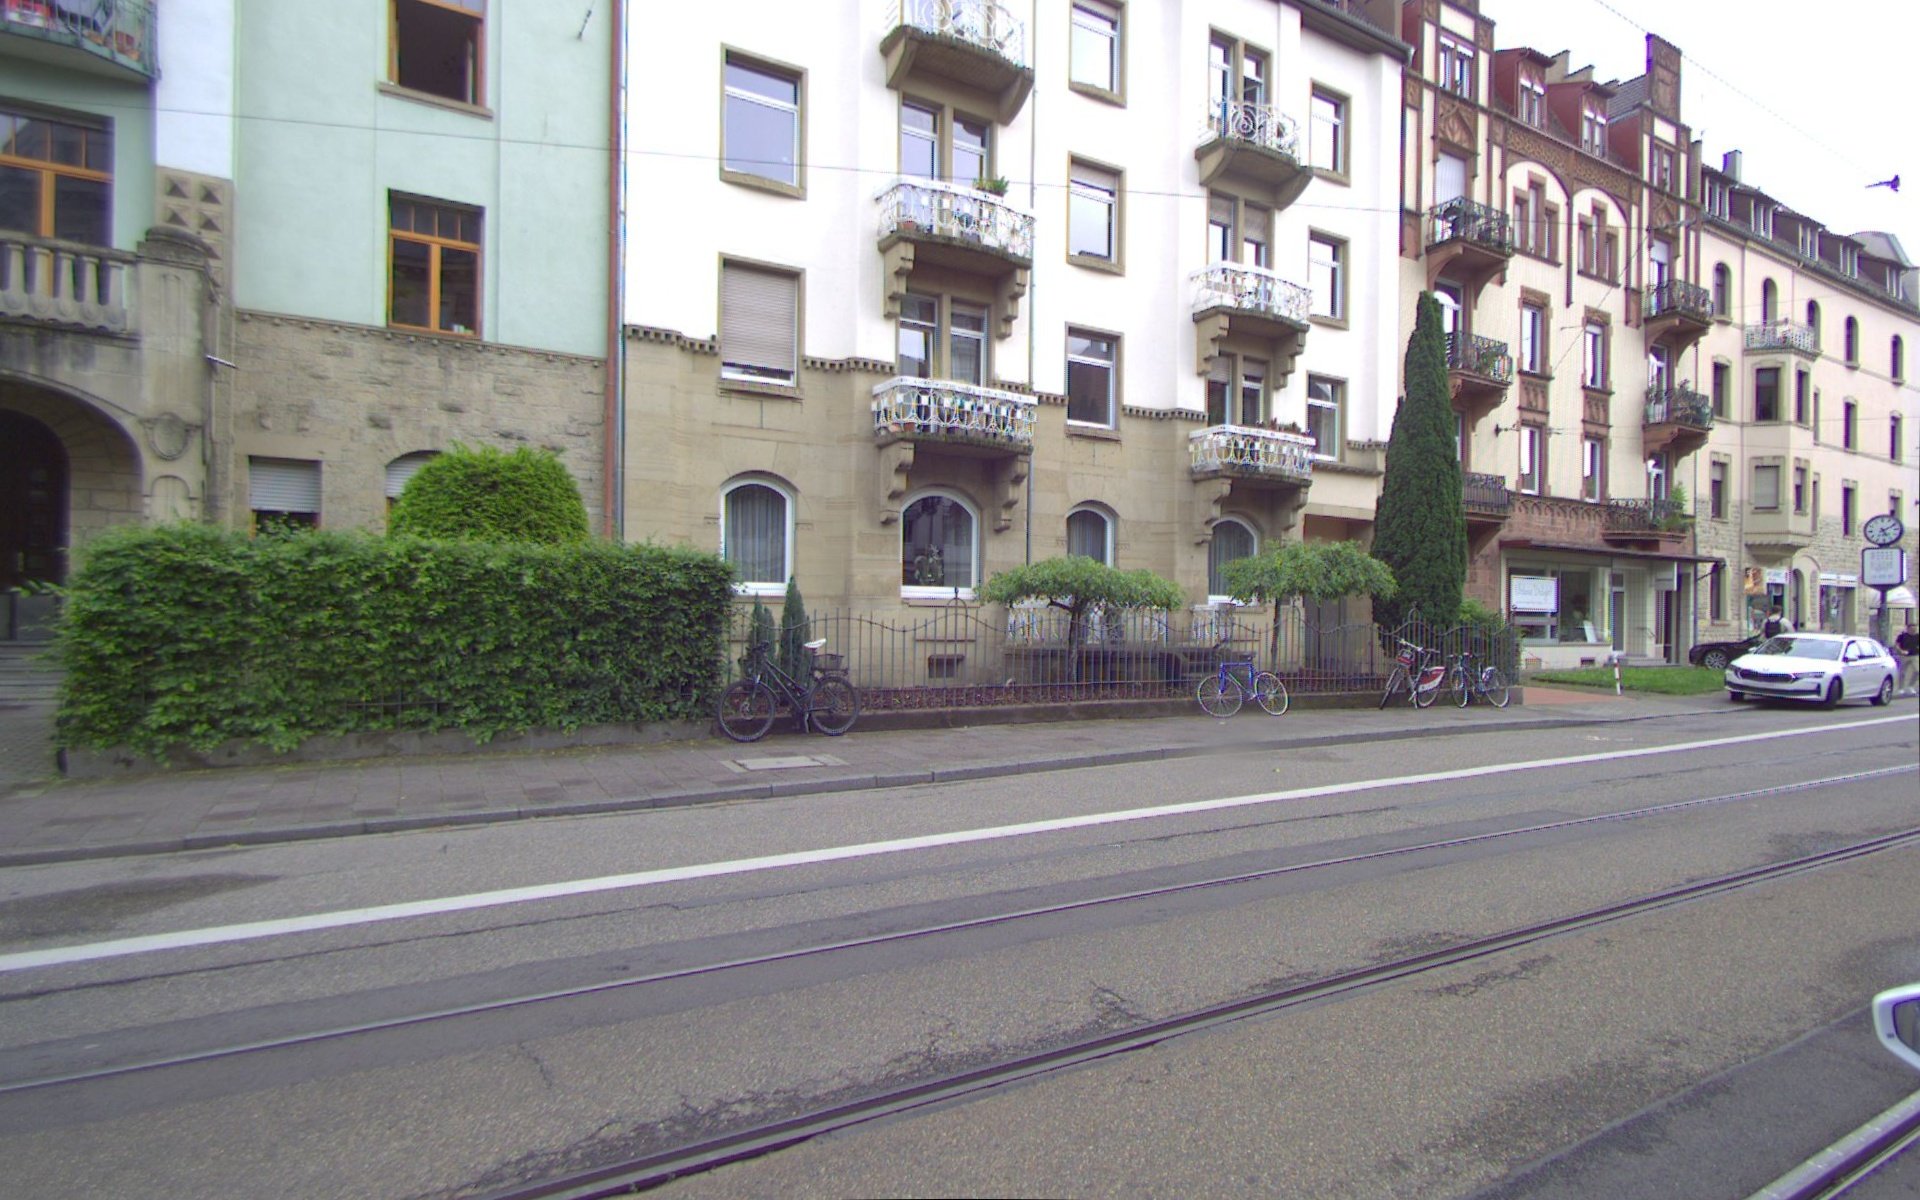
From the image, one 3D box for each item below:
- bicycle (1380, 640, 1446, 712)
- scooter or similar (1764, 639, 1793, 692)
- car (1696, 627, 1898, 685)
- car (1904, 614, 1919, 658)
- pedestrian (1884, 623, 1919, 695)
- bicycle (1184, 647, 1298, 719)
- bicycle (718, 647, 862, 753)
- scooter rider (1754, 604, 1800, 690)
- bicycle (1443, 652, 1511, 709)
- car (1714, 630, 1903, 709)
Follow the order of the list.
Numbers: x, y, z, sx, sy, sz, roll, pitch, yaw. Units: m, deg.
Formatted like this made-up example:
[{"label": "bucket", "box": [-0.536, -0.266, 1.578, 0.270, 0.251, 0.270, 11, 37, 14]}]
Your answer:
[{"label": "bicycle", "box": [7.479, 1.230, 16.562, 1.613, 1.116, 0.381, 2, -1, -42]}, {"label": "scooter or similar", "box": [19.702, 1.561, 24.175, 0.942, 1.250, 0.230, 1, -1, -30]}, {"label": "car", "box": [25.617, 1.652, 30.901, 1.861, 1.389, 4.397, 1, 1, -34]}, {"label": "car", "box": [53.995, 1.981, 54.349, 2.142, 2.449, 5.382, 0, -1, 18]}, {"label": "pedestrian", "box": [25.024, 1.555, 26.623, 0.659, 1.868, 0.879, 0, -1, 36]}, {"label": "bicycle", "box": [4.140, 1.208, 14.762, 1.640, 0.938, 0.358, 0, -19, -28]}, {"label": "bicycle", "box": [-1.848, 1.068, 11.024, 1.528, 1.098, 0.358, 1, -1, -31]}, {"label": "scooter rider", "box": [19.704, 1.130, 24.229, 0.749, 2.040, 0.639, 1, -1, -30]}, {"label": "bicycle", "box": [9.196, 1.416, 17.844, 1.498, 0.950, 0.330, 1, -1, -31]}, {"label": "car", "box": [18.083, 1.408, 21.357, 4.557, 1.504, 1.738, 1, -1, -31]}]
